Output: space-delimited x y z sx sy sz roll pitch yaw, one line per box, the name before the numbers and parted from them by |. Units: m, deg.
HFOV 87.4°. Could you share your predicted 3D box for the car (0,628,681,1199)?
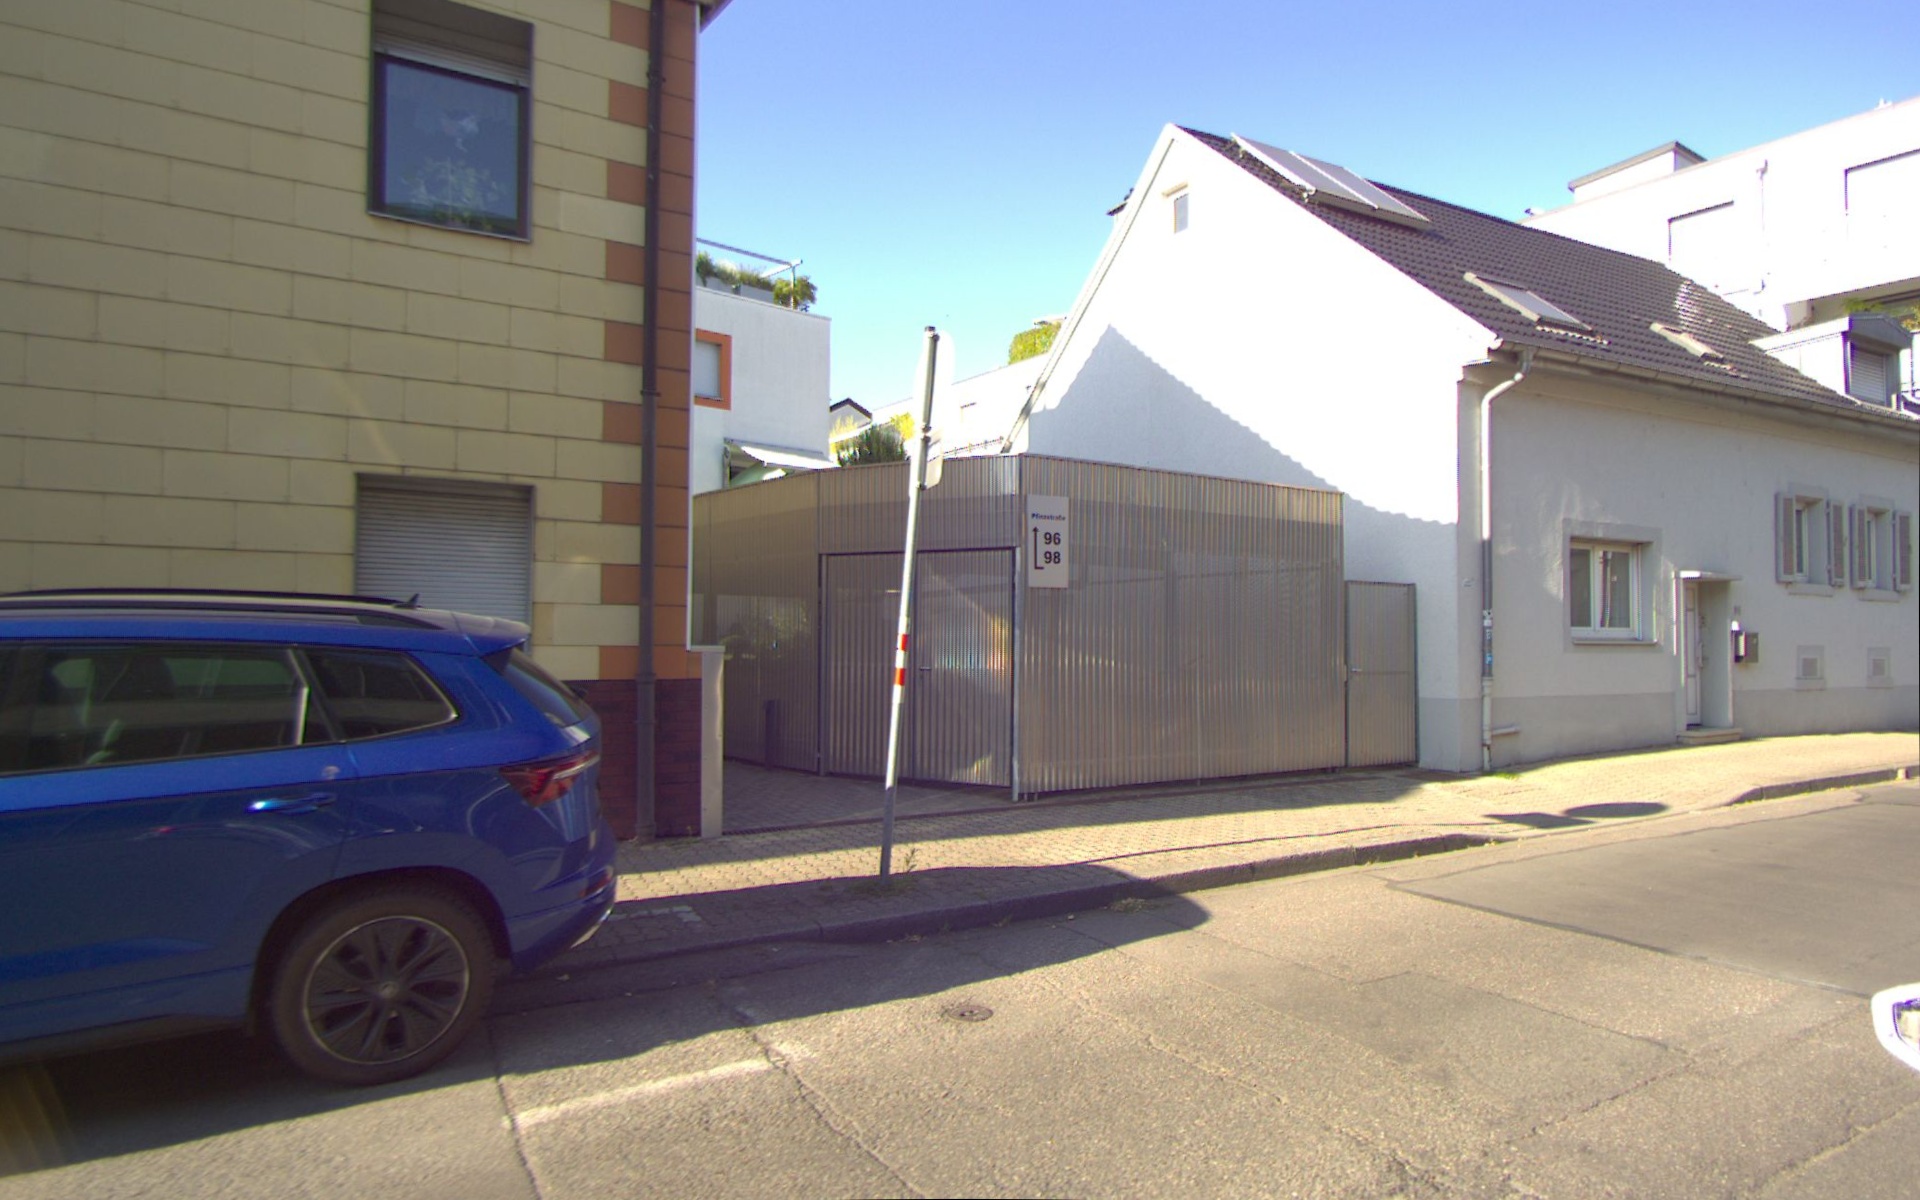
car | -3.288 0.950 3.509 4.143 1.608 1.800 -1 -1 -31
